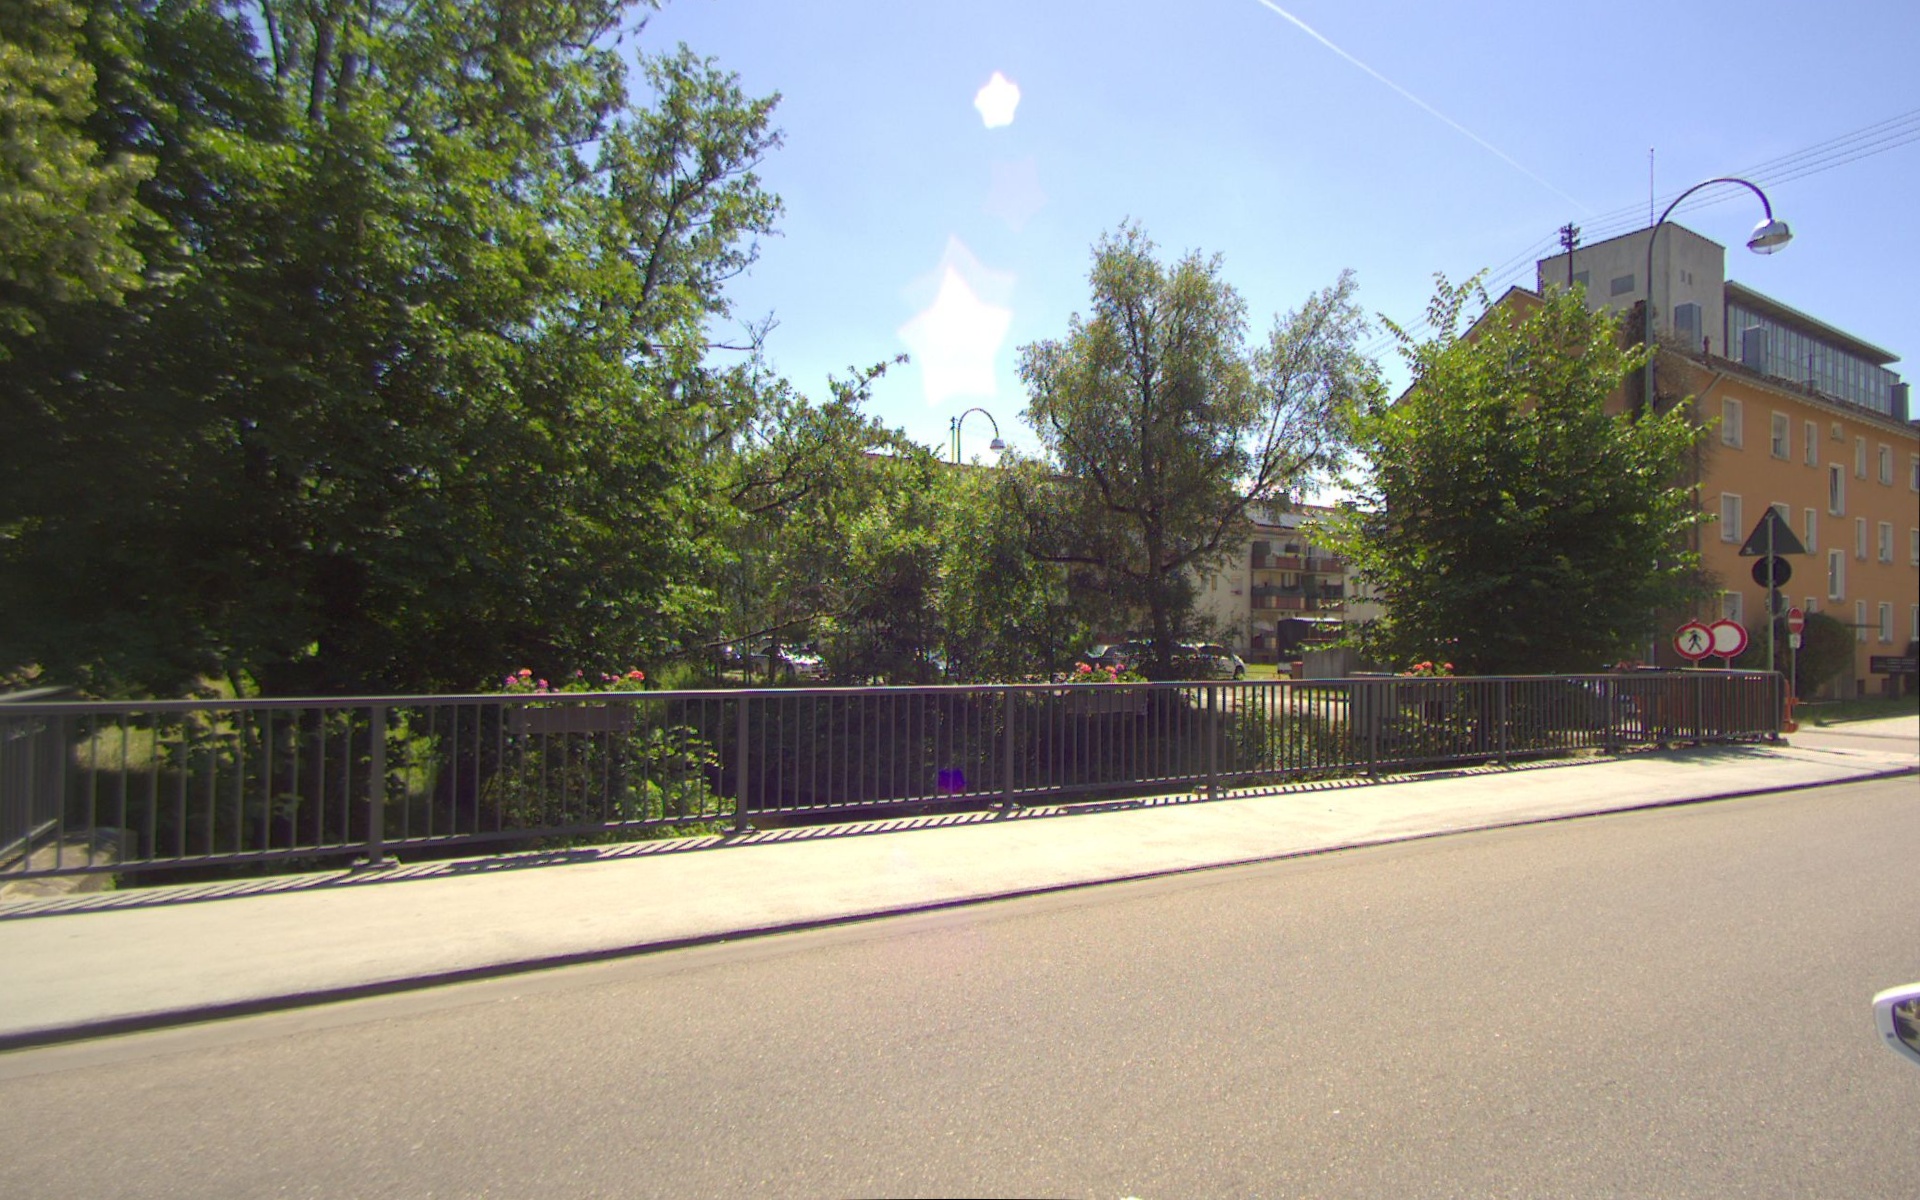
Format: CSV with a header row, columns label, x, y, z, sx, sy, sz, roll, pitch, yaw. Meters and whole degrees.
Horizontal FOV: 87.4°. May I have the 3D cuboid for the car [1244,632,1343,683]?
label,x,y,z,sx,sy,sz,roll,pitch,yaw
car,14.238,2.416,42.800,3.957,2.040,1.982,2,-2,-33

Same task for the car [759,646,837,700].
label,x,y,z,sx,sy,sz,roll,pitch,yaw
car,-6.978,3.046,42.887,1.977,2.040,3.966,0,0,-31

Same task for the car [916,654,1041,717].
label,x,y,z,sx,sy,sz,roll,pitch,yaw
car,0.667,2.939,35.244,3.958,2.040,1.982,2,-2,-34

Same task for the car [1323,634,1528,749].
label,x,y,z,sx,sy,sz,roll,pitch,yaw
car,9.497,1.747,20.440,3.957,2.040,1.982,0,-1,-33

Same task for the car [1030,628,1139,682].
label,x,y,z,sx,sy,sz,roll,pitch,yaw
car,4.964,2.161,39.916,3.957,2.040,1.982,2,-2,-33

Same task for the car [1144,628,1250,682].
label,x,y,z,sx,sy,sz,roll,pitch,yaw
car,9.518,2.189,40.308,3.957,2.040,1.982,2,-2,-33

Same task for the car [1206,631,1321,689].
label,x,y,z,sx,sy,sz,roll,pitch,yaw
car,11.366,2.191,37.623,3.952,2.040,1.985,1,-1,-29

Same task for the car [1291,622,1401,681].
label,x,y,z,sx,sy,sz,roll,pitch,yaw
car,15.384,2.005,40.039,3.952,2.263,2.069,1,-1,-29
